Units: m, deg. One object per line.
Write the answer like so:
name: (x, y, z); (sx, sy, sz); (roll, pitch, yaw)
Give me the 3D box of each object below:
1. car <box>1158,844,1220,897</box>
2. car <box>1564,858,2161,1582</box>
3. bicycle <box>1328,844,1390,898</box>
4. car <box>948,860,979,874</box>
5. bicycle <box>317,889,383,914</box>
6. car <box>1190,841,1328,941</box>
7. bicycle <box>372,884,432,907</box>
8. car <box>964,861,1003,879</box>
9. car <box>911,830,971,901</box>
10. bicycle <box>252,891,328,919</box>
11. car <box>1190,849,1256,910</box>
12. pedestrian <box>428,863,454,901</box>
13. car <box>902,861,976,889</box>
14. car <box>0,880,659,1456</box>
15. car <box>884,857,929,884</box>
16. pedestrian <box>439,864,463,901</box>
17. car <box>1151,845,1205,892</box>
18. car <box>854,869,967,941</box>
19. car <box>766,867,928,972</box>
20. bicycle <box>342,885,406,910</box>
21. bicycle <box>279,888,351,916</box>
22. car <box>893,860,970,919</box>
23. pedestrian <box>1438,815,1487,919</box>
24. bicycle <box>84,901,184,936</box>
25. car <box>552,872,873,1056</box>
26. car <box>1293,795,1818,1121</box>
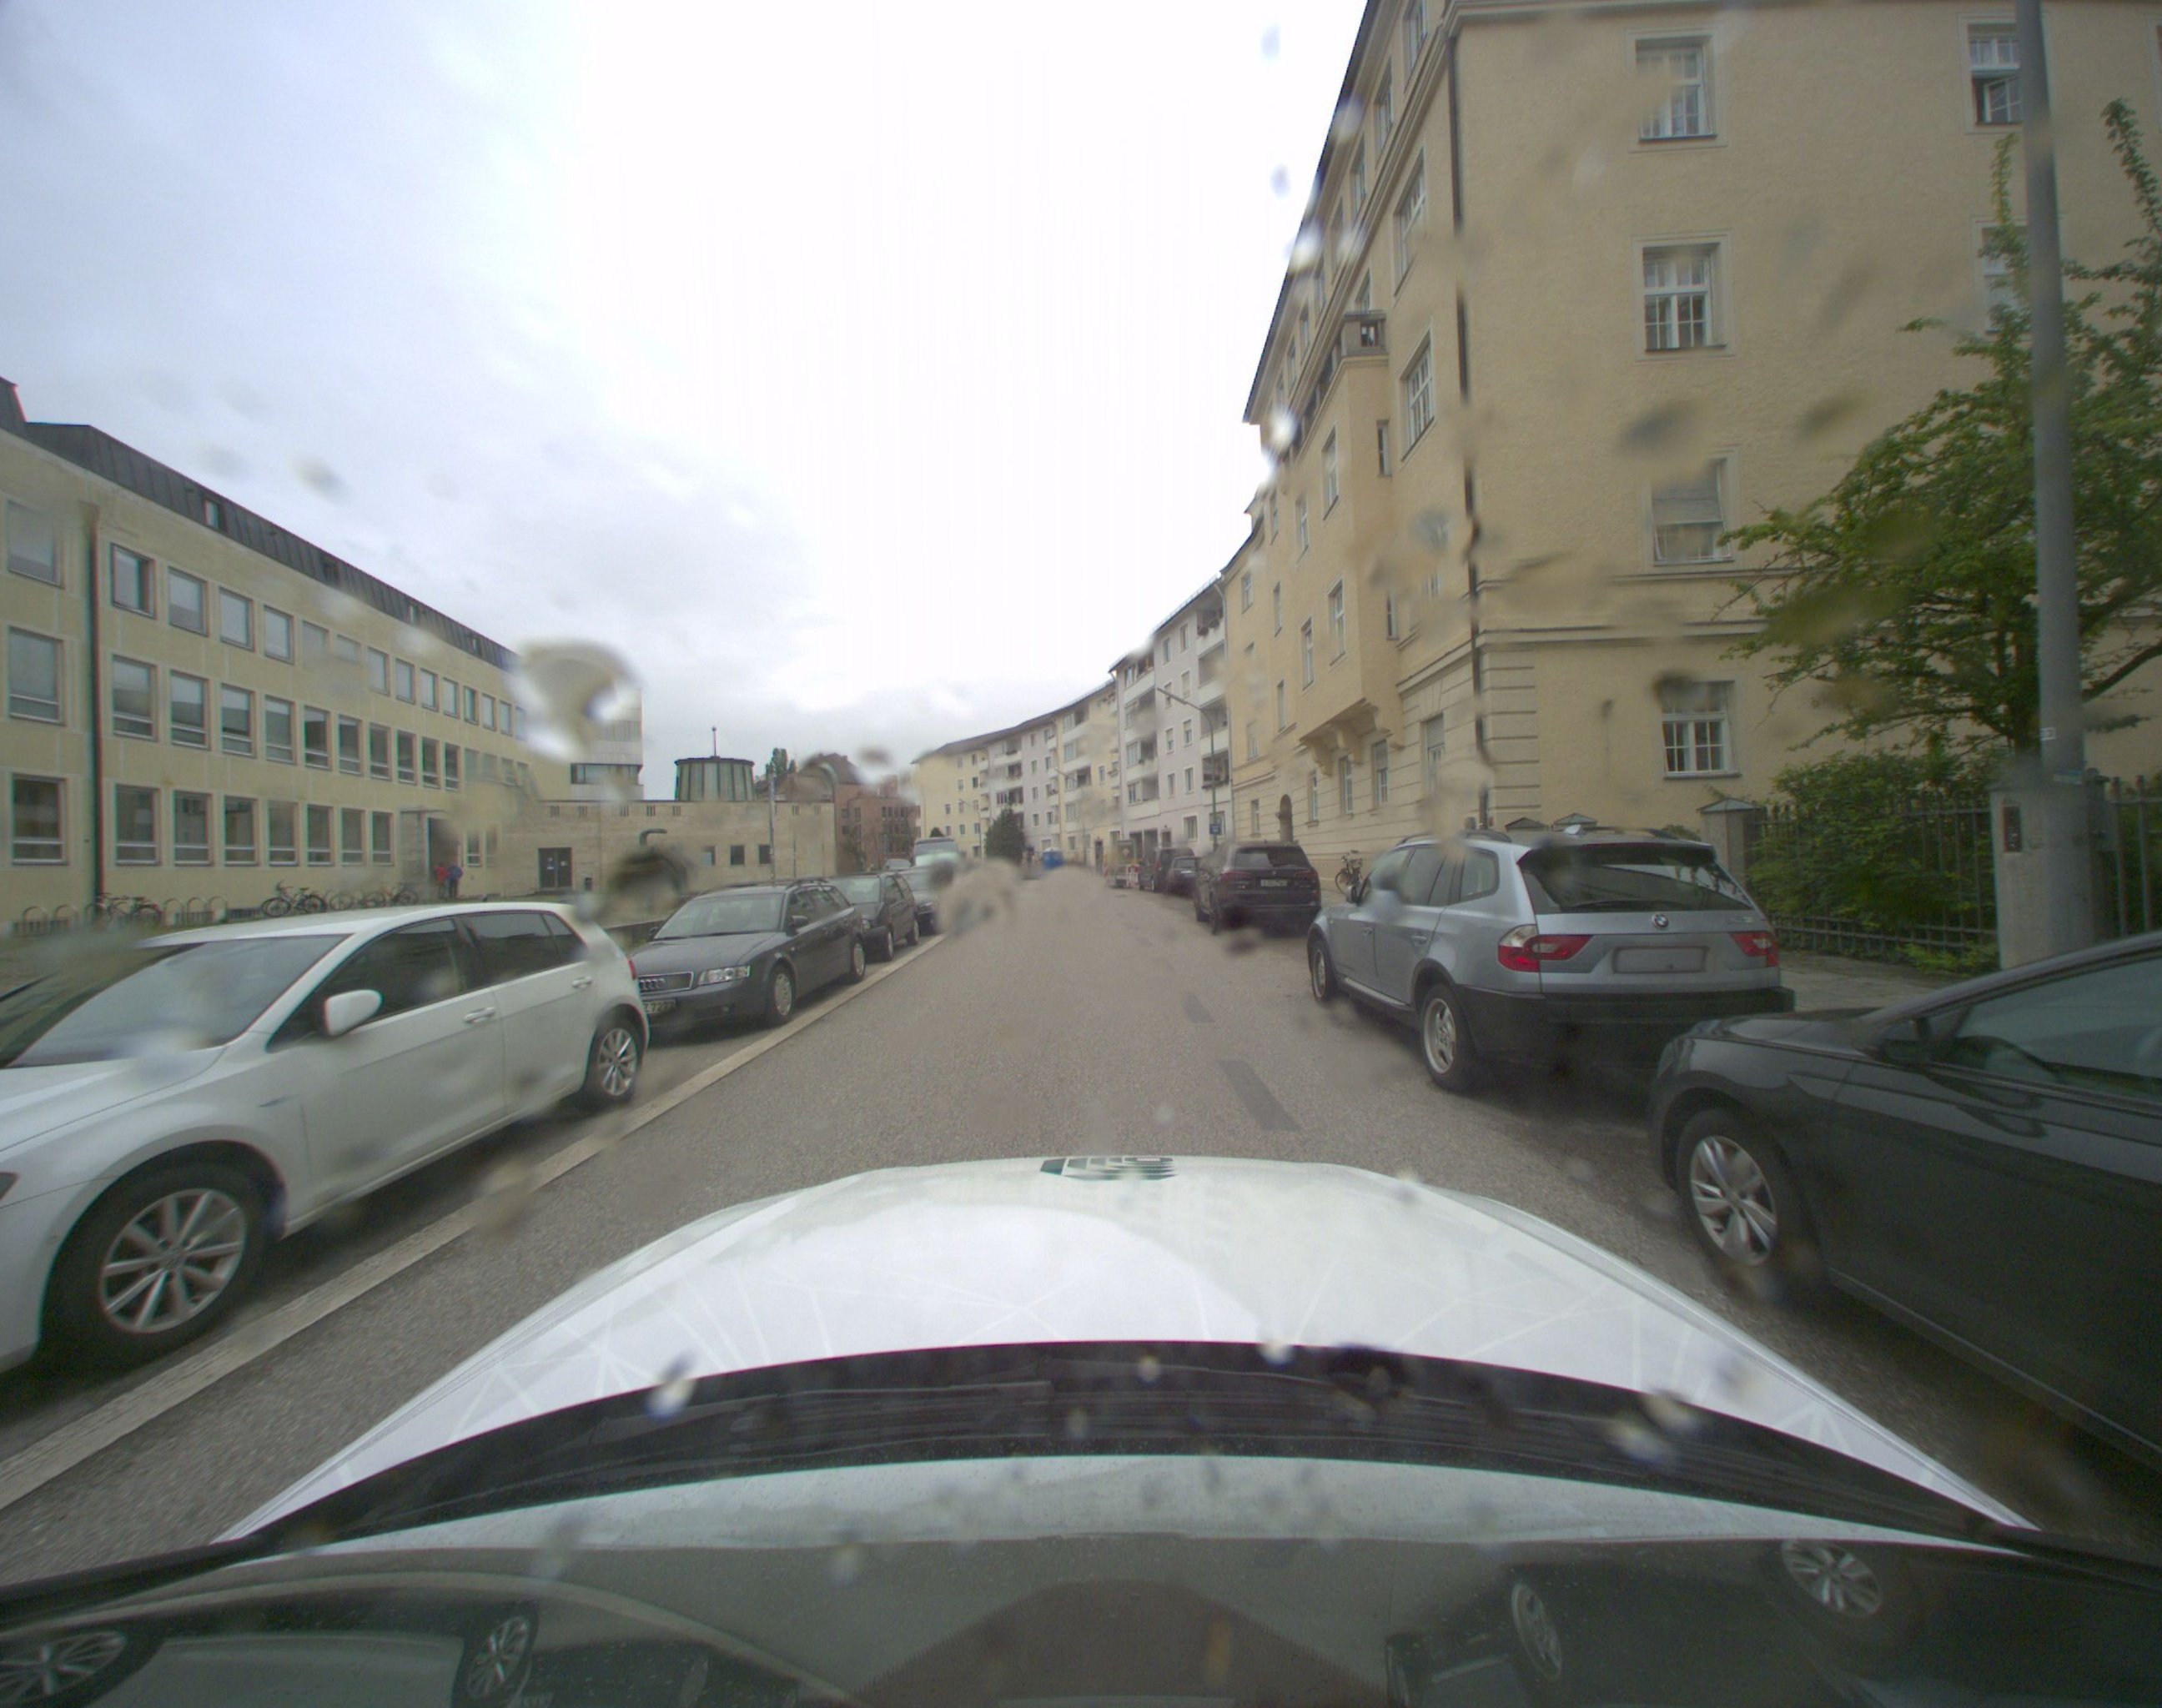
car: (3.735, 0.564, 28.683); (1.829, 1.730, 3.731); (0, -1, 2)
car: (3.003, 0.728, 1.696); (1.697, 1.442, 4.058); (0, -1, 2)
bicycle: (7.033, 0.424, 20.784); (0.699, 1.246, 2.645); (-2, -1, 1)
car: (-12.114, 1.375, 83.700); (1.670, 1.349, 3.764); (0, -3, -34)
bicycle: (-28.157, 1.809, 31.384); (1.904, 0.917, 0.436); (0, -1, -14)
car: (3.403, 0.619, 16.488); (1.920, 1.730, 4.690); (0, 1, 2)
bicycle: (-28.092, 1.705, 33.700); (1.904, 0.917, 0.436); (0, -1, -14)
car: (-9.574, 1.579, 79.556); (2.040, 1.678, 4.565); (0, -1, -32)
car: (-5.972, 0.478, 34.279); (2.145, 2.574, 6.186); (-3, 0, -11)
bicycle: (-27.346, 1.743, 28.187); (1.904, 0.917, 0.436); (0, -1, -14)
car: (3.852, 0.678, 22.438); (1.501, 1.557, 2.865); (0, -1, 4)
pedestrian: (-29.376, 1.287, 37.383); (0.716, 1.744, 0.643); (0, -1, -17)
car: (-8.111, 1.188, 46.713); (1.654, 1.530, 4.007); (-1, -1, 42)
car: (-3.920, 0.980, 3.859); (1.716, 1.530, 3.998); (-3, -1, -1)
car: (-12.098, 1.116, 56.225); (2.003, 1.772, 4.776); (-2, 0, -24)
pedestrian: (-29.661, 1.342, 38.350); (0.716, 1.744, 0.643); (0, -1, -17)
car: (3.935, 0.582, 33.618); (1.829, 1.799, 4.240); (0, -1, 2)
car: (-3.821, 1.086, 18.924); (1.716, 1.364, 4.210); (-3, -1, -1)
car: (-3.929, 1.034, 14.304); (1.716, 1.481, 3.752); (-3, -1, -1)
bicycle: (-27.958, 1.715, 32.208); (1.904, 0.917, 0.436); (0, -1, -14)
bicycle: (-27.467, 1.714, 29.217); (1.878, 0.940, 0.530); (0, -1, -11)
car: (-4.196, 0.963, 23.244); (1.663, 1.460, 2.865); (-4, -1, -2)
pedestrian: (6.711, 0.224, 14.308); (0.677, 1.760, 0.698); (-1, -1, 33)
bicycle: (-26.504, 1.789, 22.810); (1.904, 0.917, 0.436); (0, -1, -14)
car: (-3.782, 1.013, 9.286); (1.716, 1.481, 4.203); (-3, -1, -1)
car: (3.093, 0.580, 6.539); (1.771, 1.730, 4.391); (0, -1, 2)
